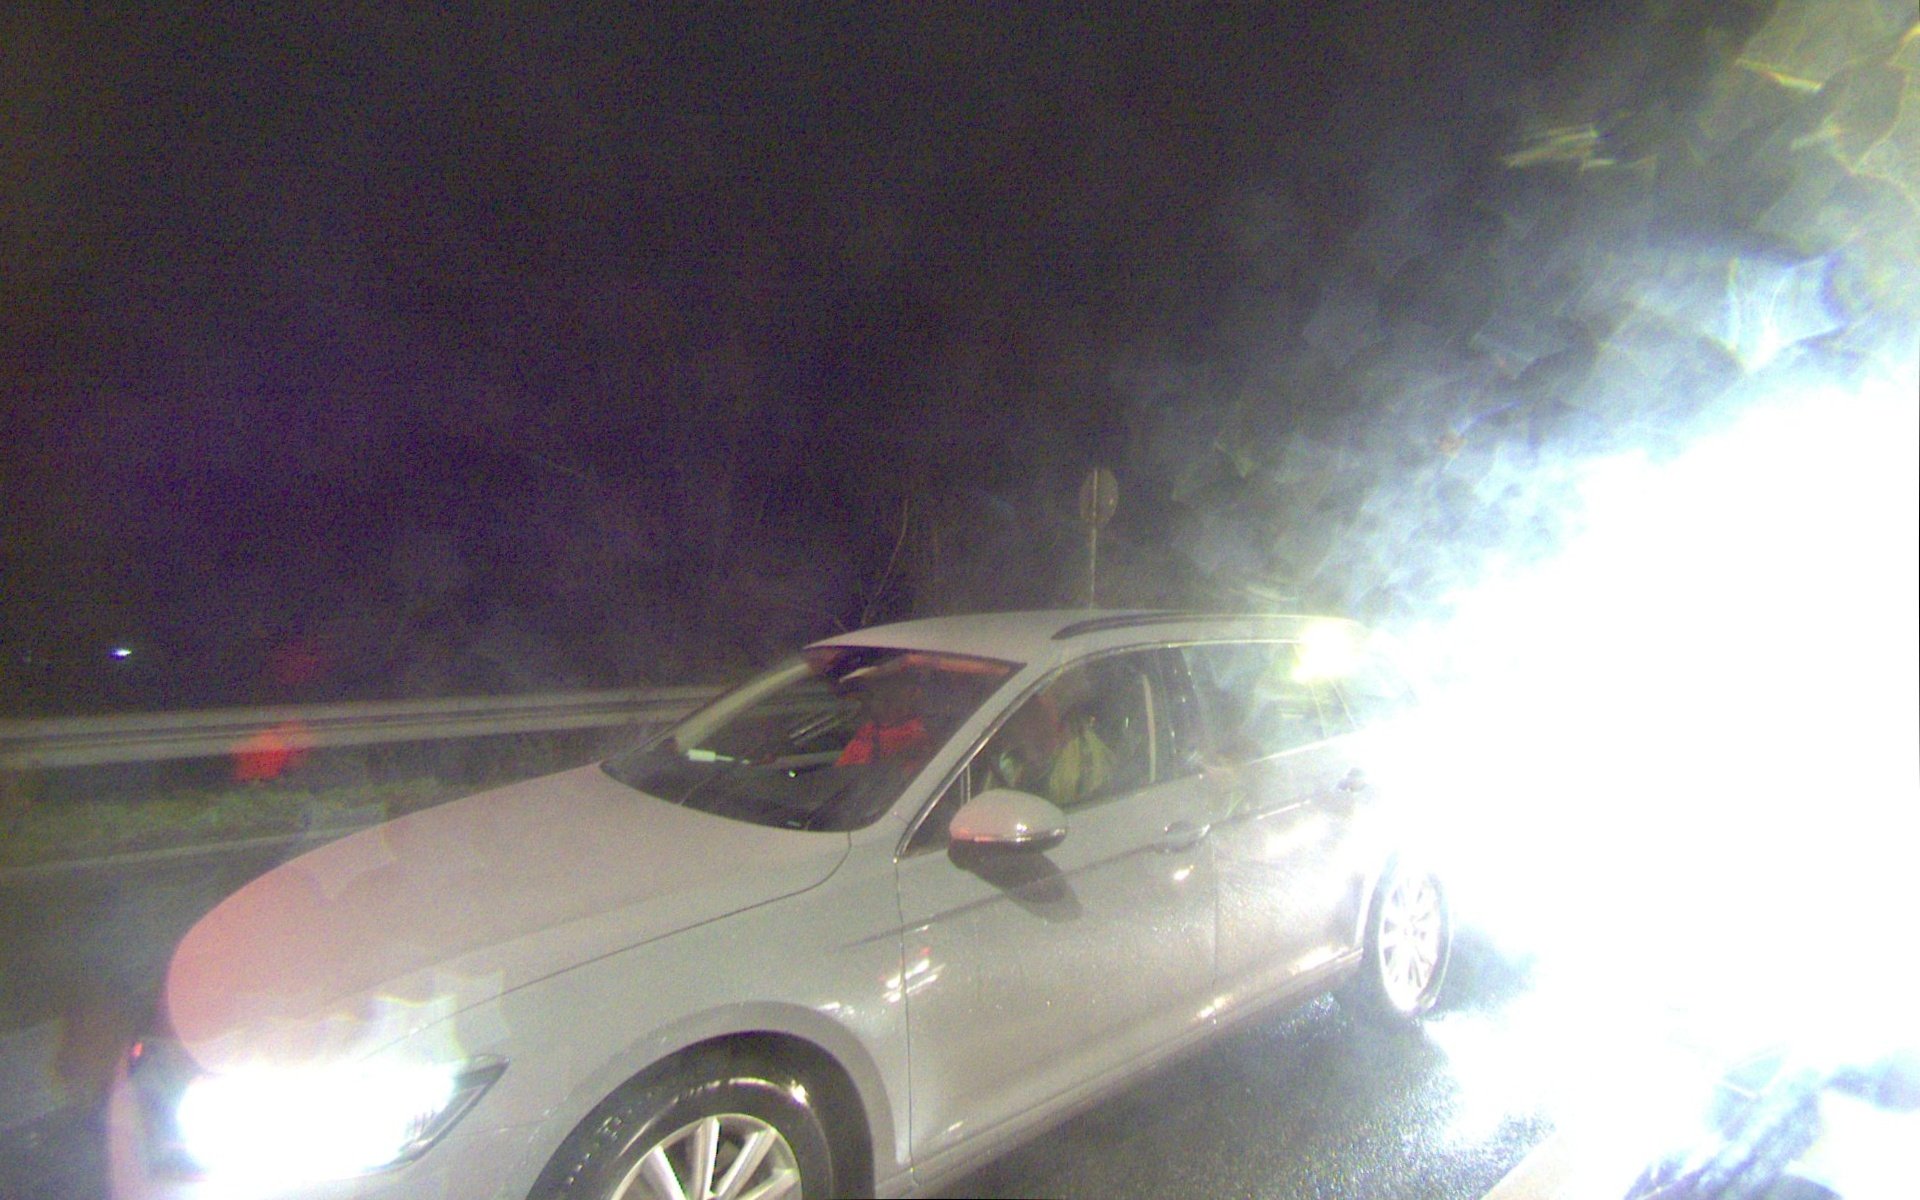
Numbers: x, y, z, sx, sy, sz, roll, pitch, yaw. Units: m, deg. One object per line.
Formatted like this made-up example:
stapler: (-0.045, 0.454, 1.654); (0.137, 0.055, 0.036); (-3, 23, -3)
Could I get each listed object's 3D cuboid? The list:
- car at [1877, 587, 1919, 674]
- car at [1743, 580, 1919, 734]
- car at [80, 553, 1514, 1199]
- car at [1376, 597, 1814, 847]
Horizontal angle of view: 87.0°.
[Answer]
car: (19.818, 0.562, 19.991); (4.315, 1.618, 1.997); (-1, 2, -41)
car: (11.502, 0.585, 12.564); (4.315, 1.618, 1.997); (-1, 2, -41)
car: (0.023, 0.686, 3.317); (4.336, 1.541, 1.710); (-1, 0, -40)
car: (5.108, 0.710, 7.927); (4.066, 1.435, 1.742); (-1, 0, -40)
